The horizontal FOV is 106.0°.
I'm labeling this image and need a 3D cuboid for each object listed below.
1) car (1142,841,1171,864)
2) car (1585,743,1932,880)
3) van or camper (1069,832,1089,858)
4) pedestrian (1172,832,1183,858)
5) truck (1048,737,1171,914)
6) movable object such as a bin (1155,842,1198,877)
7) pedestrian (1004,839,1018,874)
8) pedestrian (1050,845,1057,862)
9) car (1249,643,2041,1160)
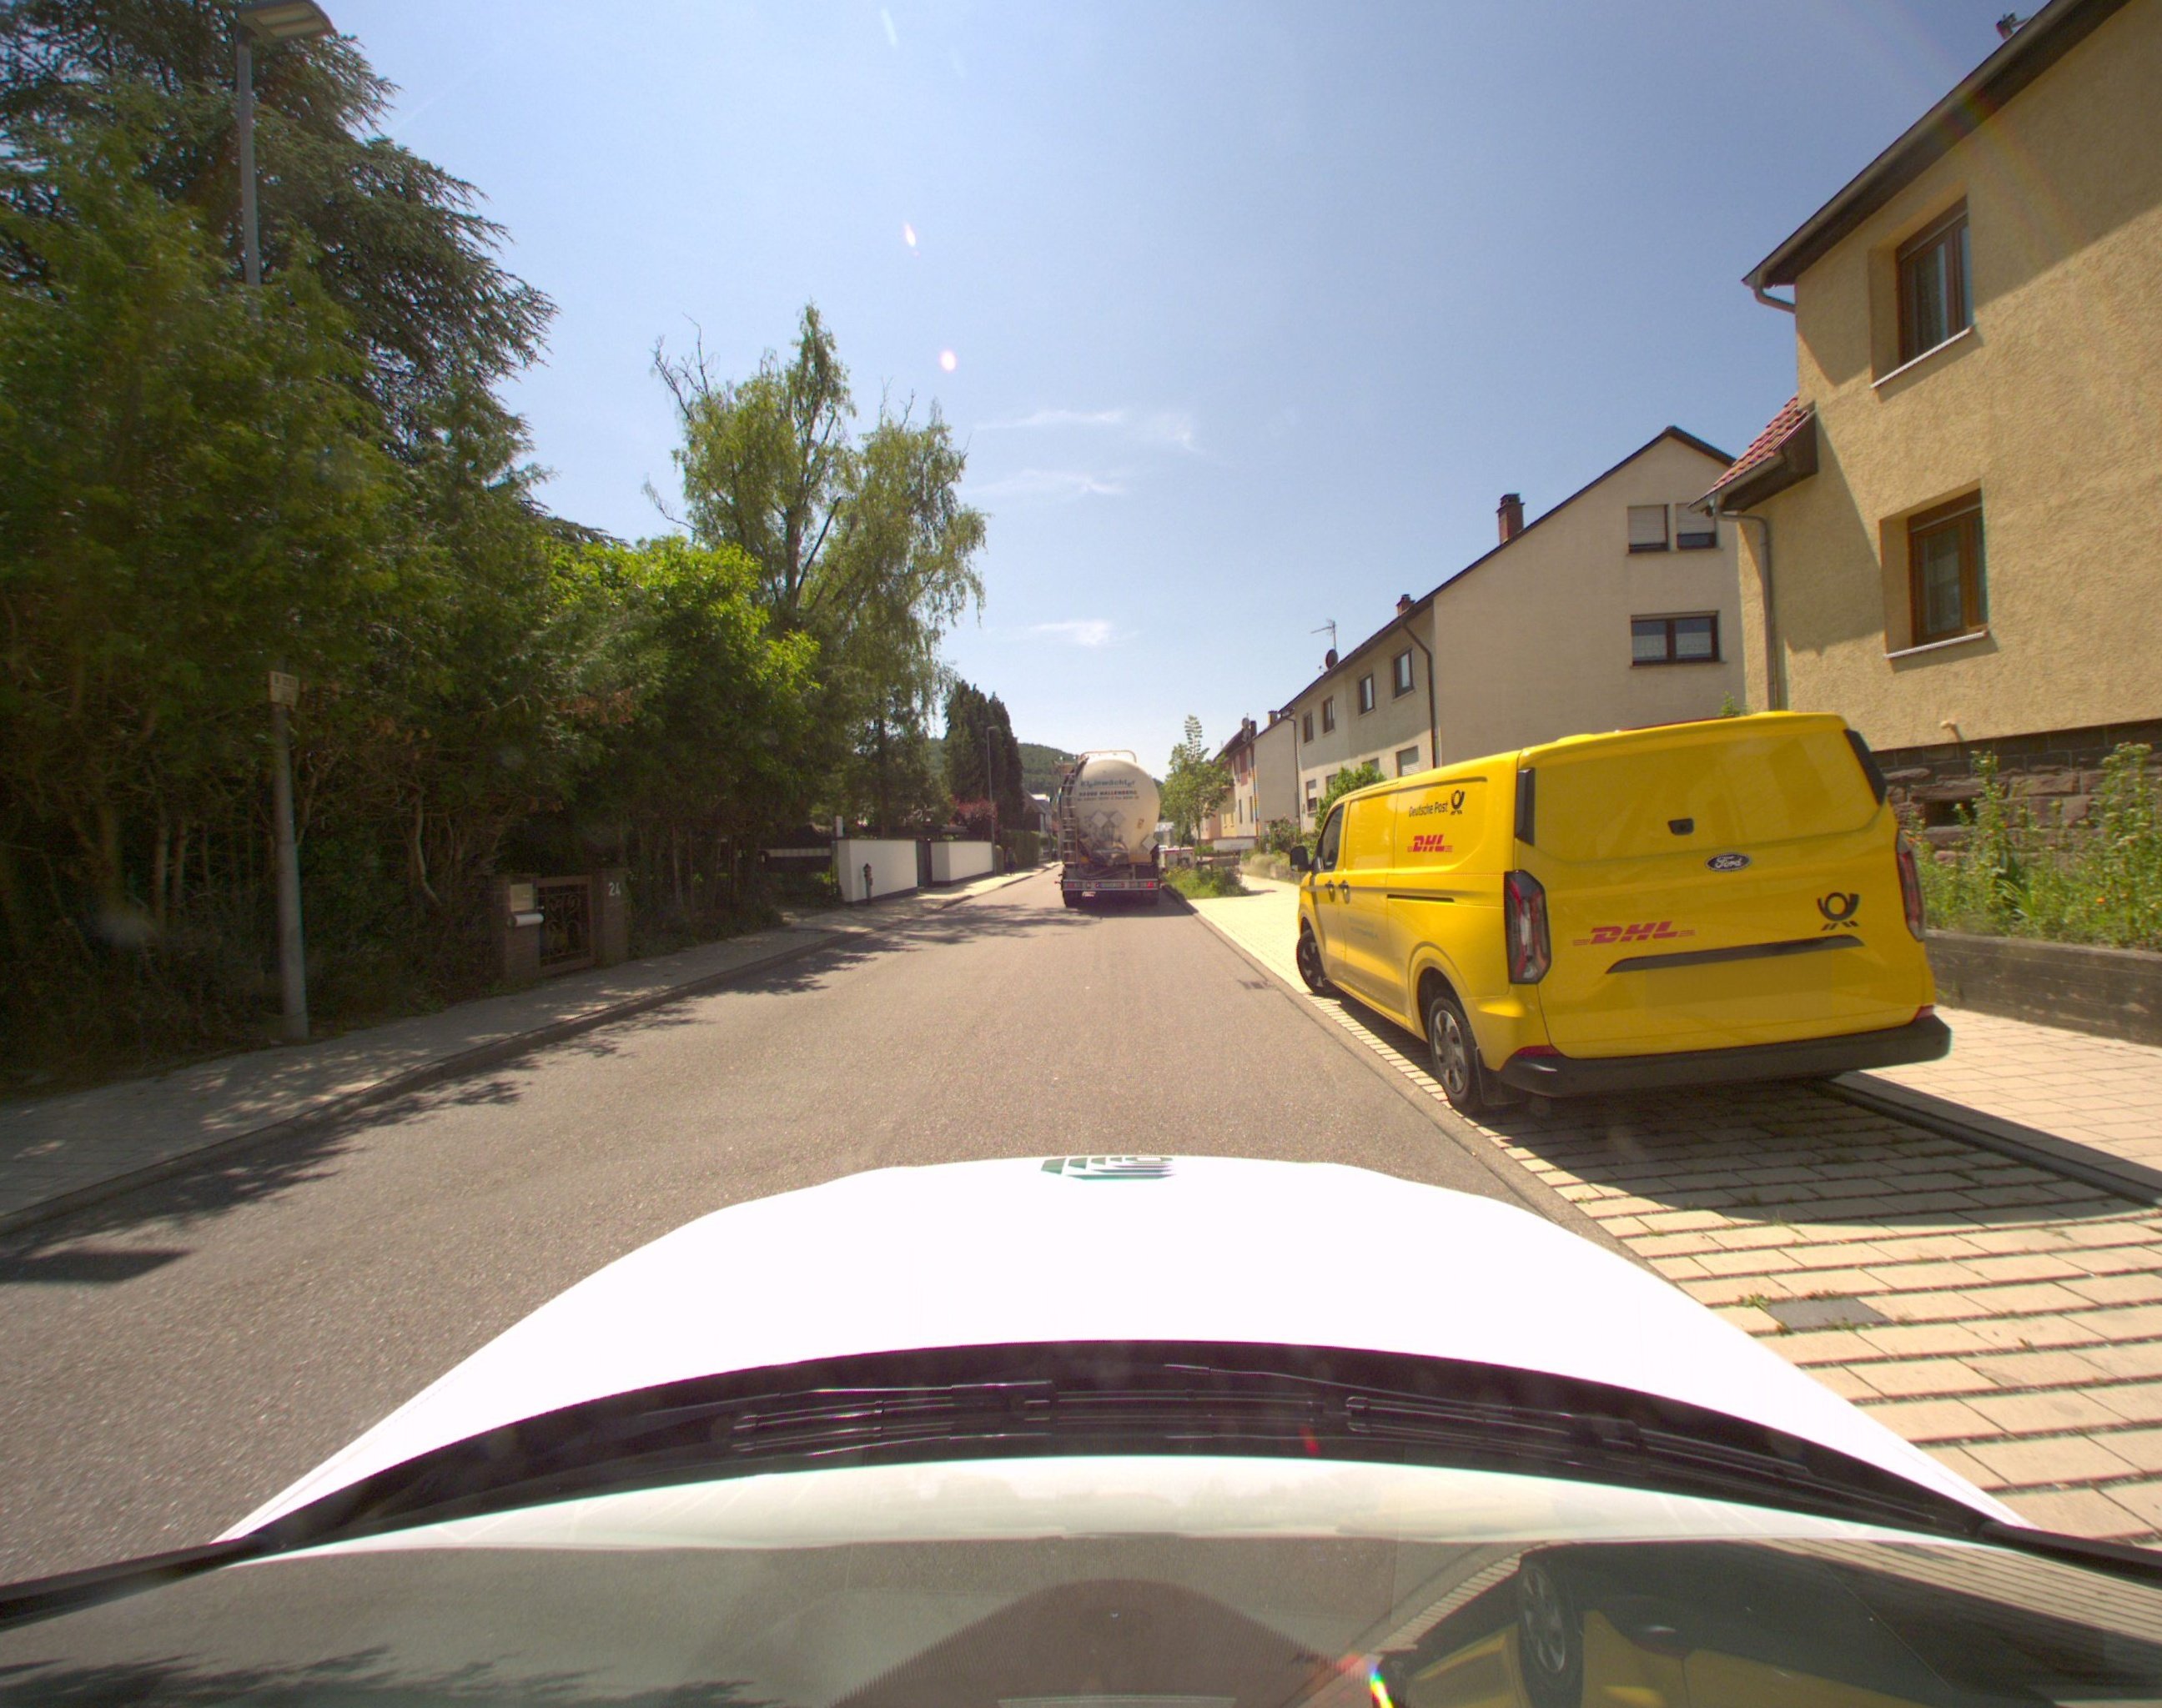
[{"bbox_3d":[5.481,-0.076,59.465,1.750,1.418,4.635,-5,-1,2],"label":"car"},{"bbox_3d":[10.770,-0.645,13.171,3.975,1.676,1.874,-6,0,-1],"label":"car"},{"bbox_3d":[-0.151,-0.950,90.895,2.030,2.713,5.826,-1,-1,2],"label":"van or camper"},{"bbox_3d":[7.566,-0.666,64.052,0.743,2.014,1.034,-1,-1,3],"label":"pedestrian"},{"bbox_3d":[0.832,-0.709,24.415,2.740,4.056,10.894,-2,0,2],"label":"truck"},{"bbox_3d":[4.204,0.242,36.077,1.566,1.416,3.042,-3,-1,1],"label":"movable object such as a bin"},{"bbox_3d":[-4.134,0.146,47.939,0.718,2.014,0.804,-1,-1,1],"label":"pedestrian"},{"bbox_3d":[-2.920,-0.031,85.605,0.710,1.823,0.898,-1,-1,-2],"label":"pedestrian"},{"bbox_3d":[3.036,0.225,6.370,2.182,2.013,5.623,-7,-1,1],"label":"car"}]
